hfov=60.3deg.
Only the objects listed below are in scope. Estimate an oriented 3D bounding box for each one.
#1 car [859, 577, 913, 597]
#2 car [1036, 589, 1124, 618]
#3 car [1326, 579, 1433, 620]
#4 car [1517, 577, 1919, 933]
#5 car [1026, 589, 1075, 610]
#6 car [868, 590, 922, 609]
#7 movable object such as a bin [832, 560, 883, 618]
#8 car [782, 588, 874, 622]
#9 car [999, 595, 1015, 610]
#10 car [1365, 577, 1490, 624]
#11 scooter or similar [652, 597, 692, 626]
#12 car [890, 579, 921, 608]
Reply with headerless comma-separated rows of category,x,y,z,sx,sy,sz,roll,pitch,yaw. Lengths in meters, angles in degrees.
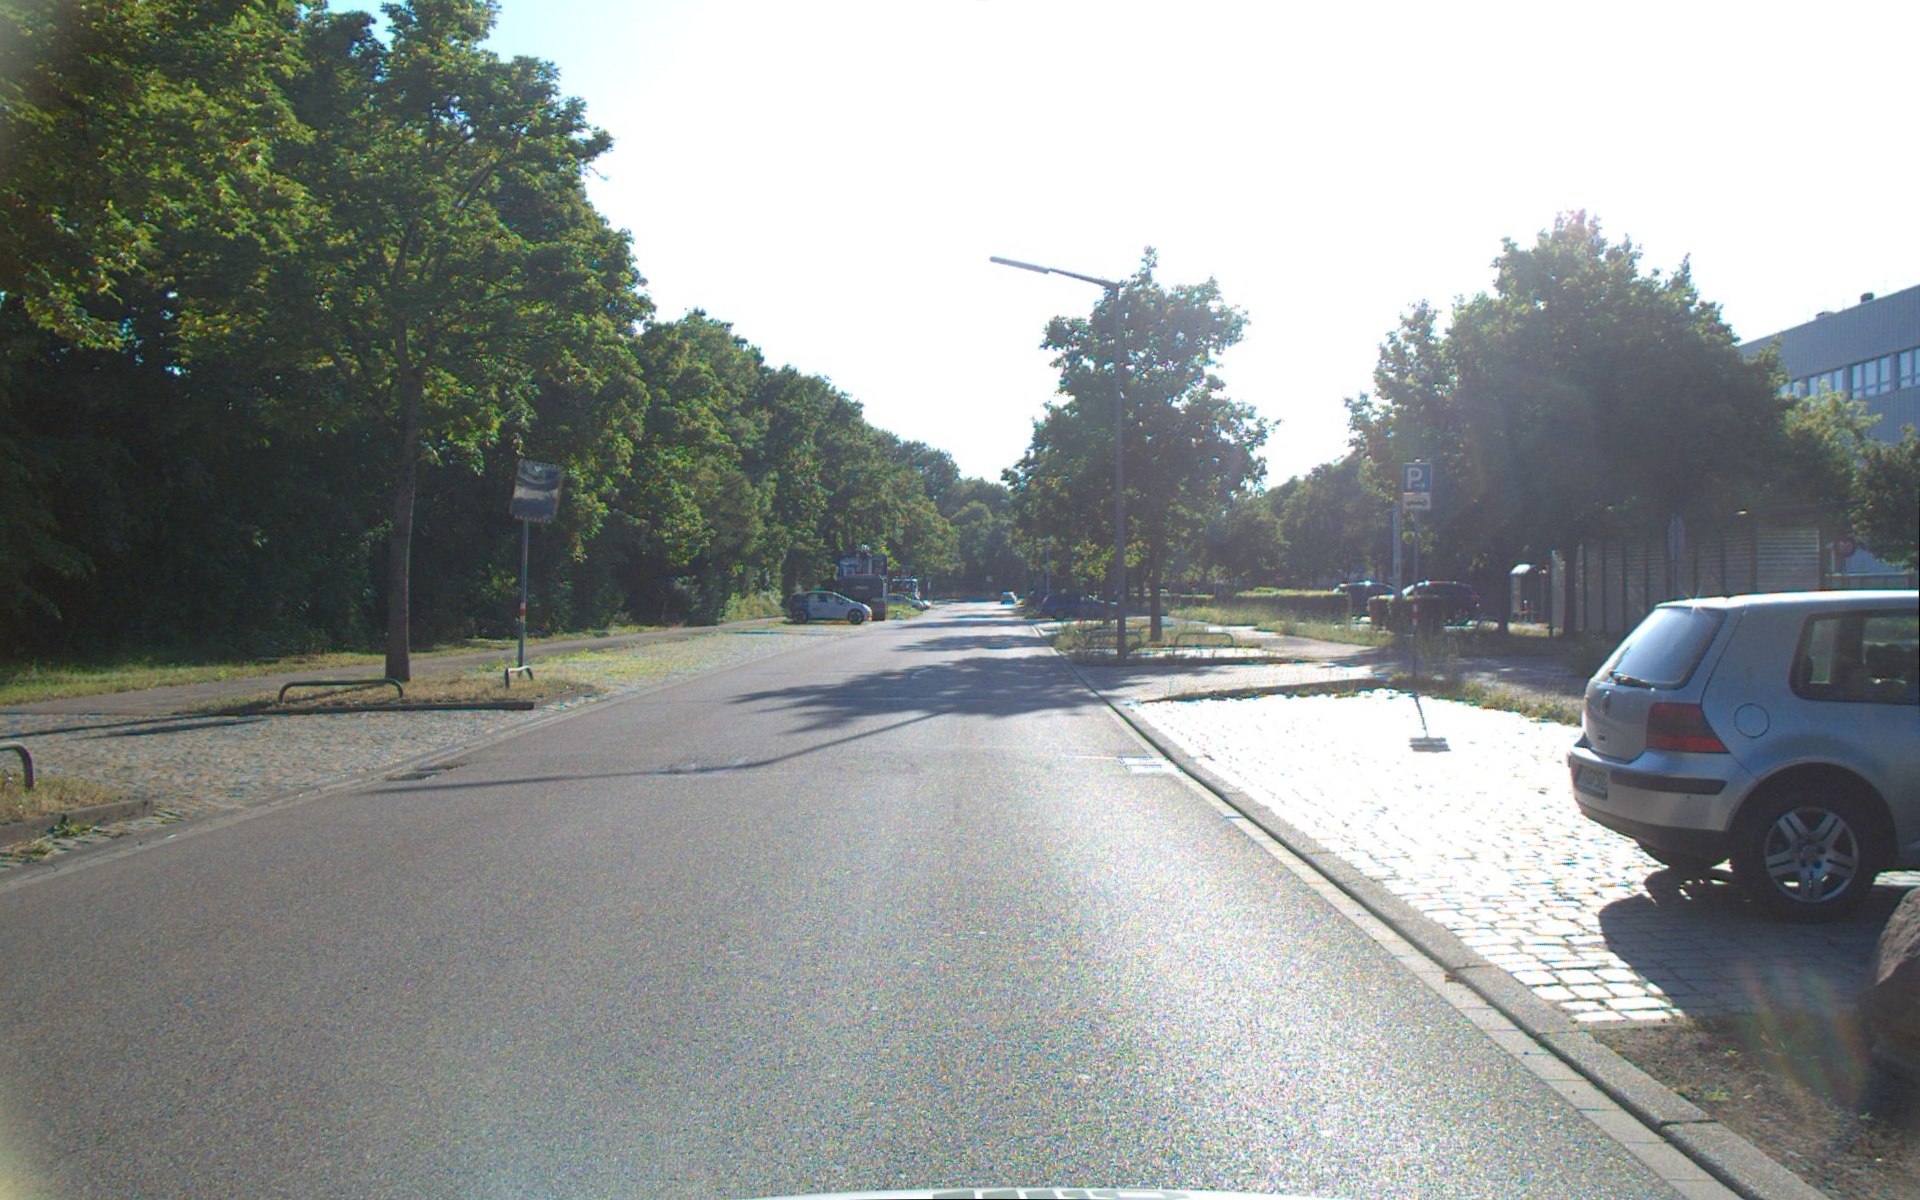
car,-6.125,-1.053,136.600,4.274,1.505,1.998,1,0,-5
car,6.534,0.178,90.324,4.741,1.505,2.001,-1,0,2
car,18.427,-0.024,72.776,4.267,1.735,2.001,-1,1,3
car,5.151,0.631,8.069,4.266,1.505,2.002,-3,0,8
car,7.944,-0.033,145.634,4.269,1.759,2.000,-1,0,0
car,-5.284,-0.047,134.118,4.274,1.505,1.998,-1,0,-5
movable object such as a bin,-5.737,-0.629,93.302,2.781,3.122,4.924,-1,0,-3
car,-6.462,0.230,81.207,4.268,1.574,2.001,-1,0,2
car,6.140,0.286,215.259,1.953,1.937,3.999,-1,0,-1
car,18.401,0.013,65.207,4.338,1.735,2.059,-1,0,0
scooter or similar,-11.567,0.466,66.483,0.567,1.165,1.576,-1,0,41
car,-4.747,-0.587,143.462,2.468,2.427,4.368,-1,0,-5
